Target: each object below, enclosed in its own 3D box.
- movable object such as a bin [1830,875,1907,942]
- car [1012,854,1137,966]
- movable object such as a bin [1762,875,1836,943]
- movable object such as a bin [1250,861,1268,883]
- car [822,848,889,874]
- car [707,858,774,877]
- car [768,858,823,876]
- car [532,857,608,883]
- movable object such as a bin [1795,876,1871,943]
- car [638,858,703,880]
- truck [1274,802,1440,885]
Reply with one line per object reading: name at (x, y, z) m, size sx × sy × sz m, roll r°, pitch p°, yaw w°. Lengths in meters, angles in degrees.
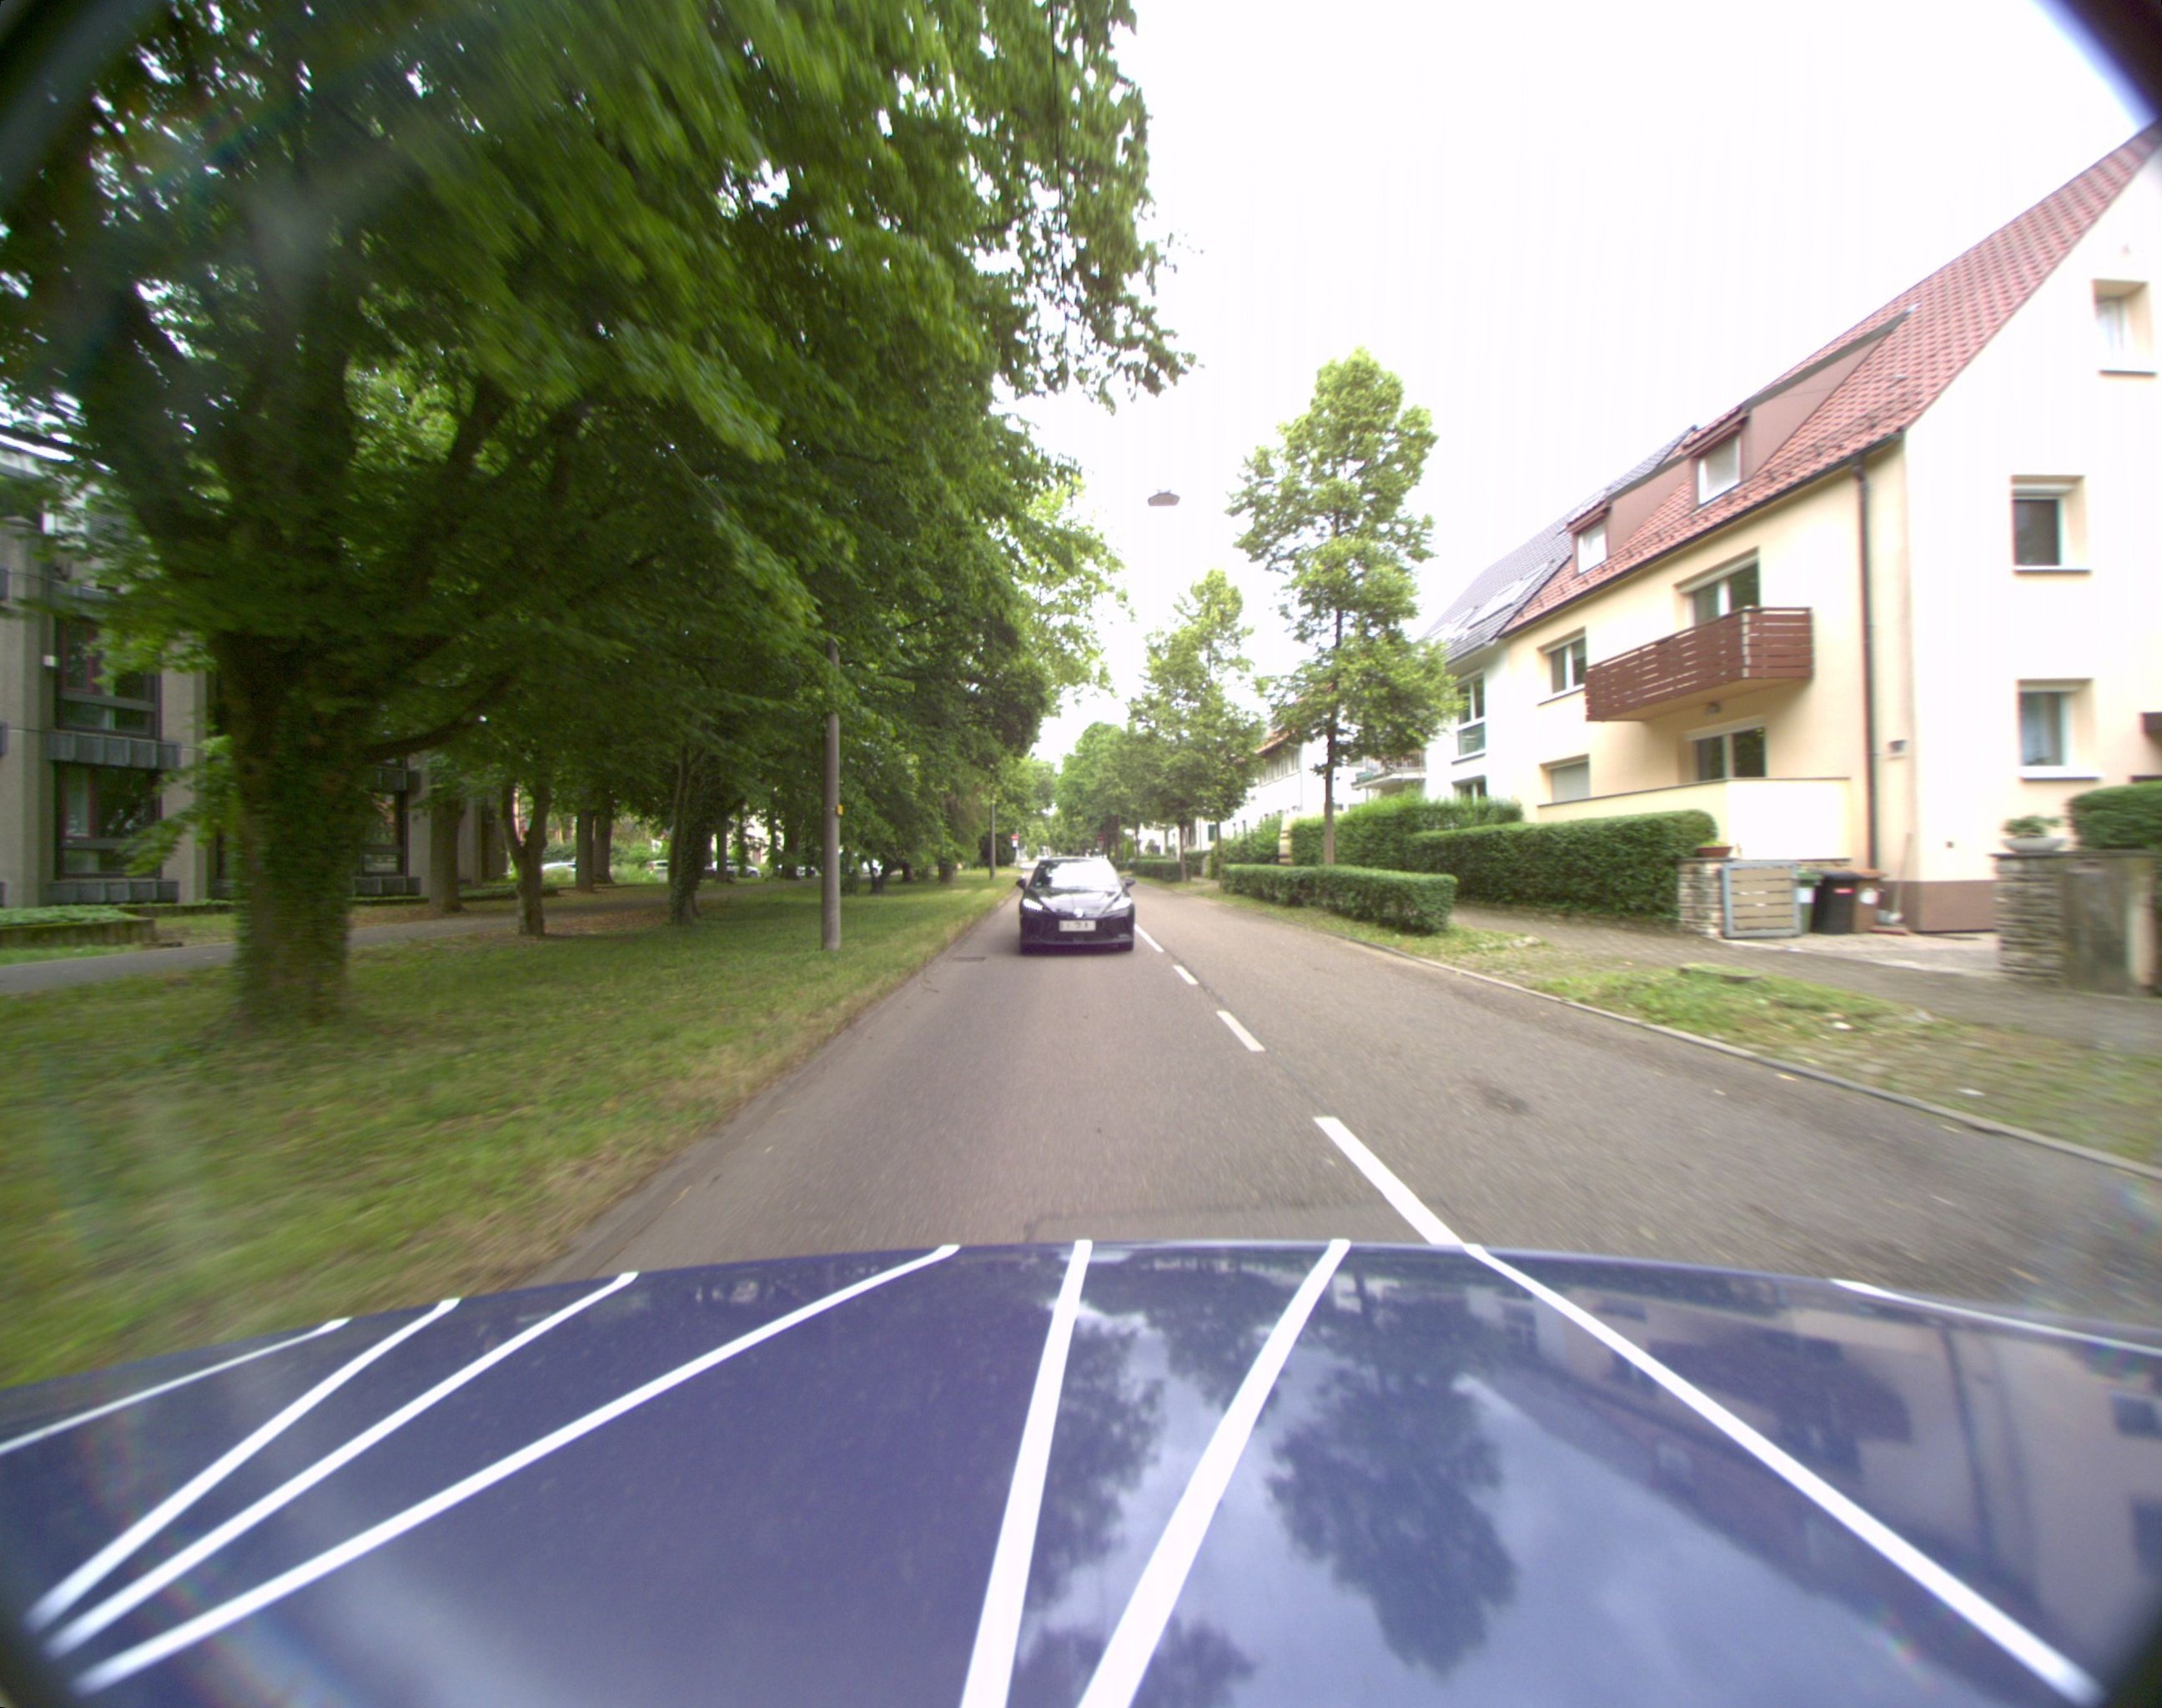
movable object such as a bin at (11.183, 0.766, 10.807) m, size 0.489 × 0.906 × 0.570 m, roll 0°, pitch 1°, yaw -4°
car at (-0.177, 0.825, 13.451) m, size 1.799 × 1.552 × 4.470 m, roll -2°, pitch 1°, yaw -2°
movable object such as a bin at (10.130, 0.763, 10.735) m, size 0.489 × 0.906 × 0.570 m, roll 0°, pitch 1°, yaw -4°
movable object such as a bin at (7.573, 0.756, 32.372) m, size 0.581 × 0.921 × 0.693 m, roll 0°, pitch 1°, yaw 0°
car at (-20.491, 0.612, 69.061) m, size 5.336 × 2.285 × 2.287 m, roll -1°, pitch 0°, yaw -36°
car at (-27.718, 1.083, 61.919) m, size 1.795 × 1.501 × 4.613 m, roll -1°, pitch 0°, yaw 42°
car at (-24.574, 1.099, 65.442) m, size 4.008 × 1.501 × 1.795 m, roll -1°, pitch 0°, yaw -42°
car at (-35.376, 1.084, 52.709) m, size 1.795 × 1.664 × 4.008 m, roll -1°, pitch 0°, yaw 40°
movable object such as a bin at (10.647, 0.773, 10.770) m, size 0.489 × 0.906 × 0.570 m, roll 0°, pitch 1°, yaw -4°
car at (-31.378, 1.131, 58.156) m, size 1.795 × 1.501 × 4.008 m, roll -1°, pitch 0°, yaw 40°
truck at (11.149, -0.432, 31.008) m, size 5.812 × 3.113 × 2.517 m, roll -1°, pitch 1°, yaw -4°
